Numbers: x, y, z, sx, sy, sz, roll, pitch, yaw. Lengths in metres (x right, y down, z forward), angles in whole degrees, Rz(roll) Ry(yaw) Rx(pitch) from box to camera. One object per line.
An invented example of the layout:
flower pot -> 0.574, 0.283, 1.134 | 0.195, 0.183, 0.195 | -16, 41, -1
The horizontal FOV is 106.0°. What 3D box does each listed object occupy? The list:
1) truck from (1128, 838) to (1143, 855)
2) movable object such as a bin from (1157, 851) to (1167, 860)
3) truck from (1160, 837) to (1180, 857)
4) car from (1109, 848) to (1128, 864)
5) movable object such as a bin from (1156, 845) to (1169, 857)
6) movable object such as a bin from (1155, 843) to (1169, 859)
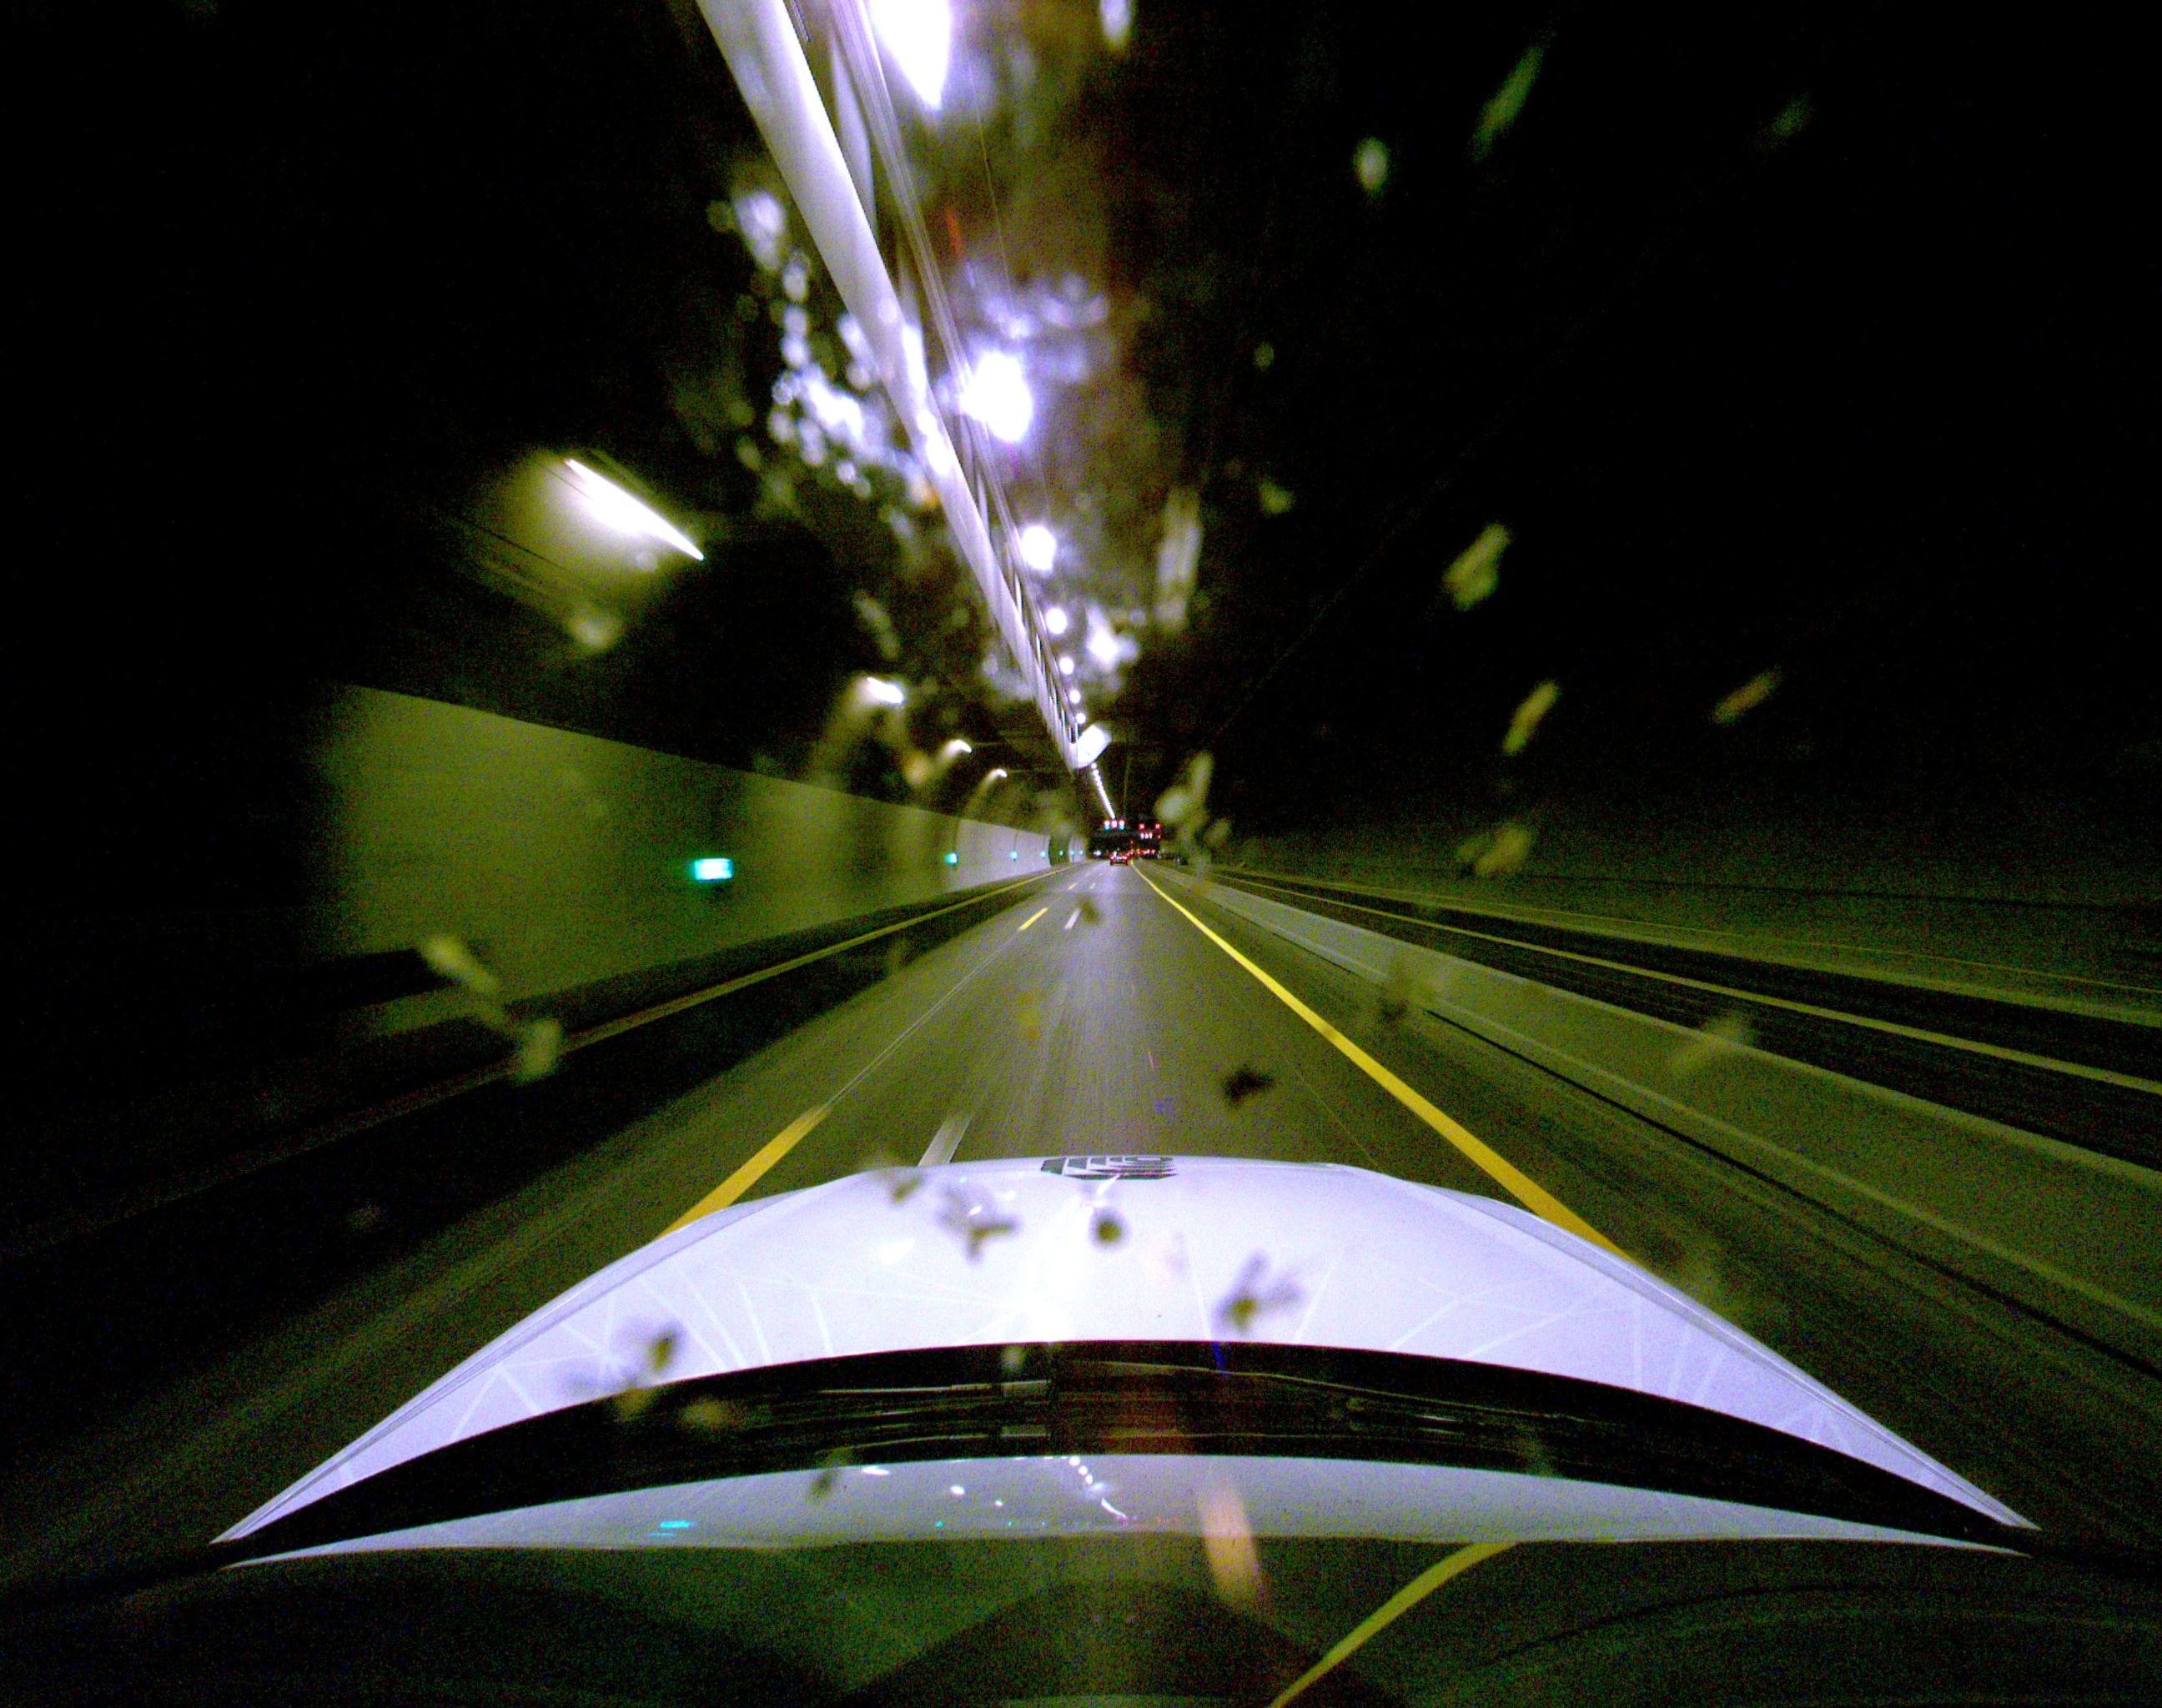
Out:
truck -> 16.668, -2.319, 250.218 | 4.527, 4.987, 9.606 | 0, 0, 3
movable object such as a bin -> 16.859, 0.265, 170.101 | 1.970, 1.816, 3.840 | 0, 0, 3
truck -> 14.920, -1.066, 136.978 | 2.880, 3.272, 8.408 | 0, 0, 3
car -> 4.020, 0.207, 87.457 | 1.881, 1.607, 4.000 | 0, 0, 0
movable object such as a bin -> 18.314, -0.614, 182.558 | 2.724, 2.754, 7.058 | 0, 0, 5
movable object such as a bin -> 14.479, -0.531, 145.838 | 2.228, 2.794, 7.239 | 0, 0, 3
